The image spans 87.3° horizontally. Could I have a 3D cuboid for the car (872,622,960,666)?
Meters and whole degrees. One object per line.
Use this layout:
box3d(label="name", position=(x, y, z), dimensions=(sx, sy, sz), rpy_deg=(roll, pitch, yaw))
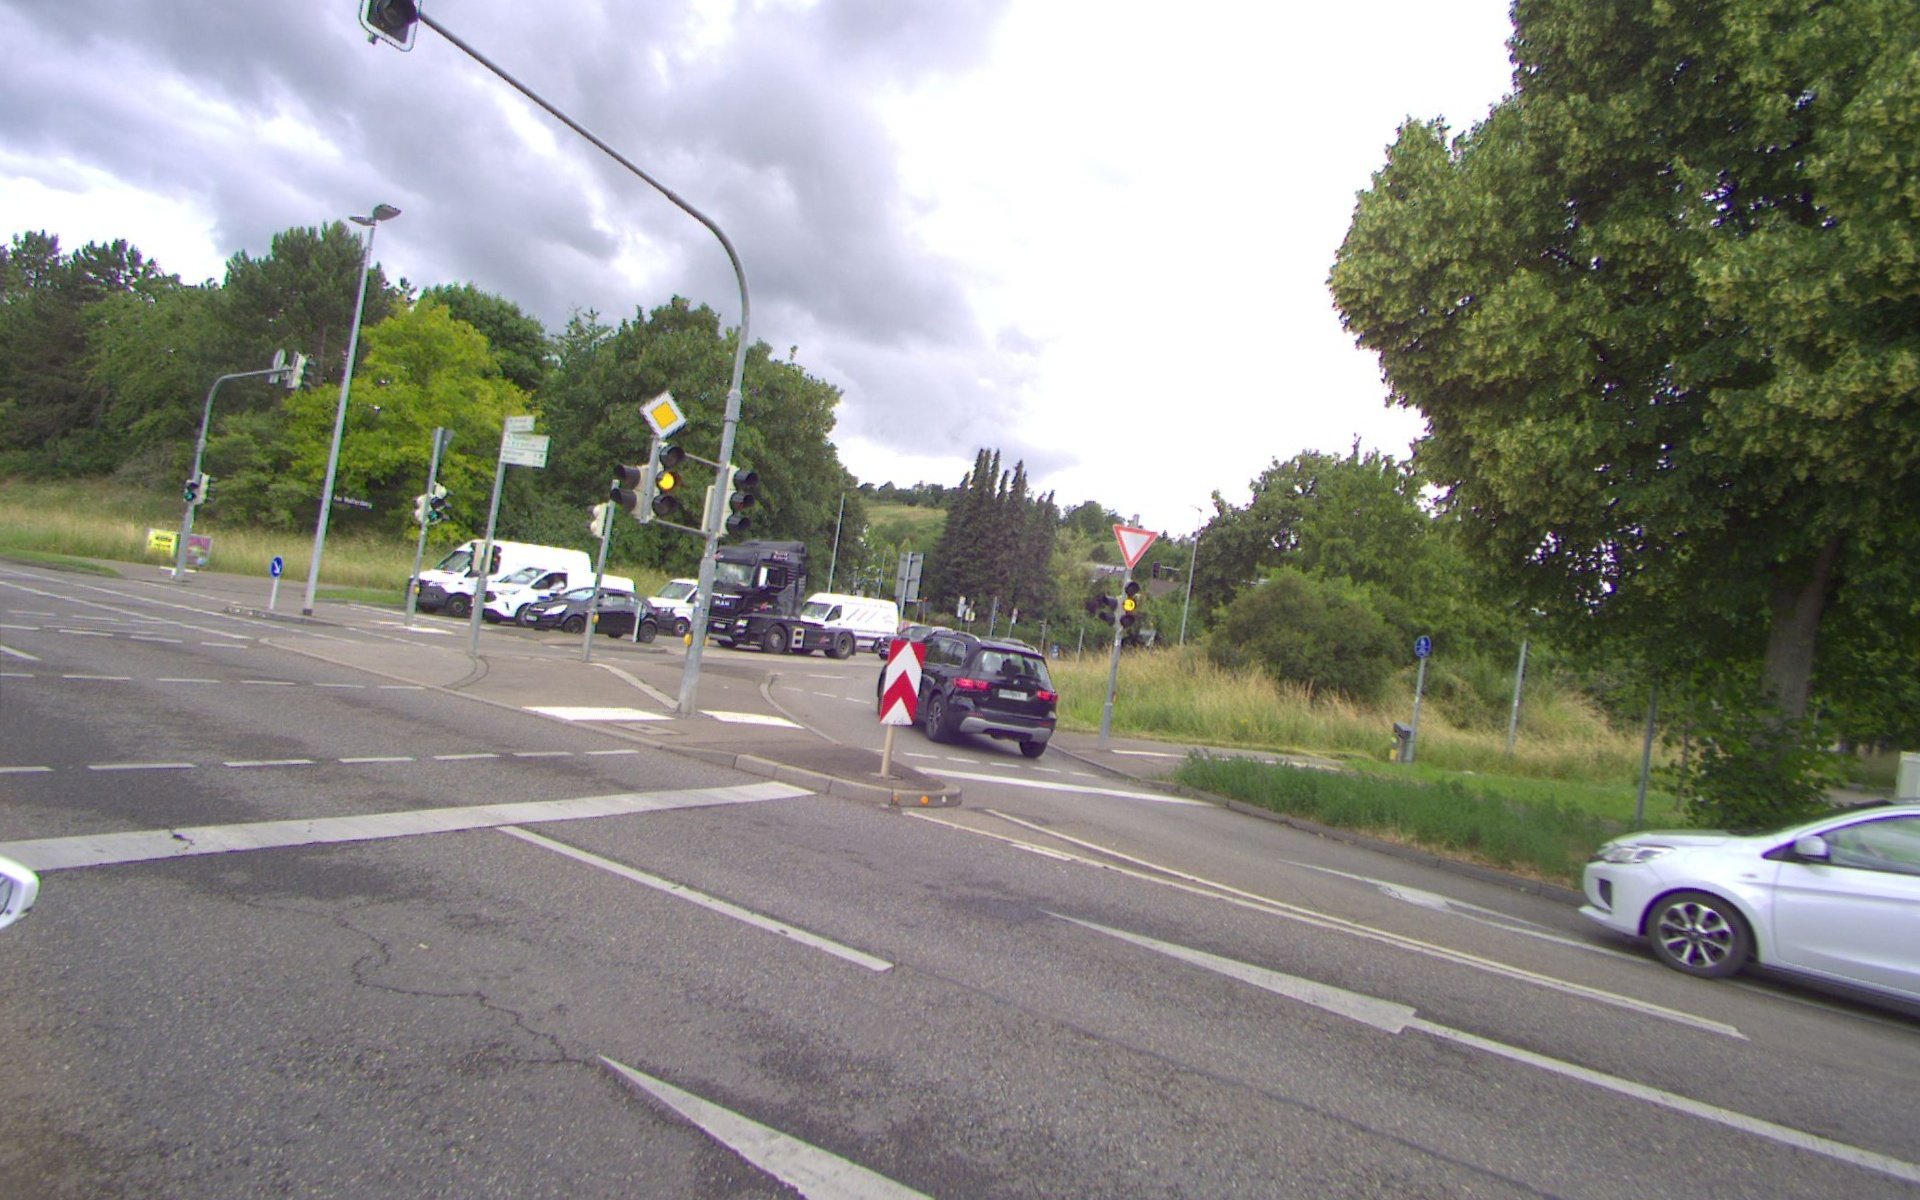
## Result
box3d(label="car", position=(-1.788, 1.889, 42.536), dimensions=(1.703, 1.453, 3.927), rpy_deg=(7, -1, 31))

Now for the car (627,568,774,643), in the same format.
box3d(label="car", position=(-10.429, 0.293, 40.903), dimensions=(2.100, 2.316, 5.709), rpy_deg=(7, -1, 32))

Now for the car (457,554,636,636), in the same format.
box3d(label="car", position=(-12.937, -0.092, 31.814), dimensions=(1.999, 1.918, 4.862), rpy_deg=(7, -1, 31))

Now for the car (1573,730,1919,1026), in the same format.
box3d(label="car", position=(6.520, 2.029, 6.700), dimensions=(3.781, 1.457, 1.783), rpy_deg=(8, -6, 42))

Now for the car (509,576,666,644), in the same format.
box3d(label="car", position=(-10.610, 0.338, 28.928), dimensions=(1.703, 1.453, 3.927), rpy_deg=(7, -1, 31))

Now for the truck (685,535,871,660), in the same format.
box3d(label="truck", position=(-6.215, 0.027, 35.339), dimensions=(2.682, 3.580, 6.061), rpy_deg=(7, -1, 32))

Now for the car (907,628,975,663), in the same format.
box3d(label="car", position=(-0.996, 2.500, 54.973), dimensions=(1.704, 1.453, 3.925), rpy_deg=(7, -1, 33))

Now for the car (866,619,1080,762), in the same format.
box3d(label="car", position=(0.037, 1.356, 16.427), dimensions=(1.764, 1.666, 4.407), rpy_deg=(12, -4, -20))

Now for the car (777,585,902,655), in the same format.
box3d(label="car", position=(-5.670, 1.055, 48.618), dimensions=(2.160, 2.640, 6.509), rpy_deg=(7, -1, 32))

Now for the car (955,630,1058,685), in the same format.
box3d(label="car", position=(1.734, 2.100, 36.242), dimensions=(1.756, 1.553, 4.300), rpy_deg=(8, -1, 30))

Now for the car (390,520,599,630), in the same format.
box3d(label="car", position=(-15.340, -0.734, 33.596), dimensions=(2.100, 2.814, 5.903), rpy_deg=(7, -1, 32))
